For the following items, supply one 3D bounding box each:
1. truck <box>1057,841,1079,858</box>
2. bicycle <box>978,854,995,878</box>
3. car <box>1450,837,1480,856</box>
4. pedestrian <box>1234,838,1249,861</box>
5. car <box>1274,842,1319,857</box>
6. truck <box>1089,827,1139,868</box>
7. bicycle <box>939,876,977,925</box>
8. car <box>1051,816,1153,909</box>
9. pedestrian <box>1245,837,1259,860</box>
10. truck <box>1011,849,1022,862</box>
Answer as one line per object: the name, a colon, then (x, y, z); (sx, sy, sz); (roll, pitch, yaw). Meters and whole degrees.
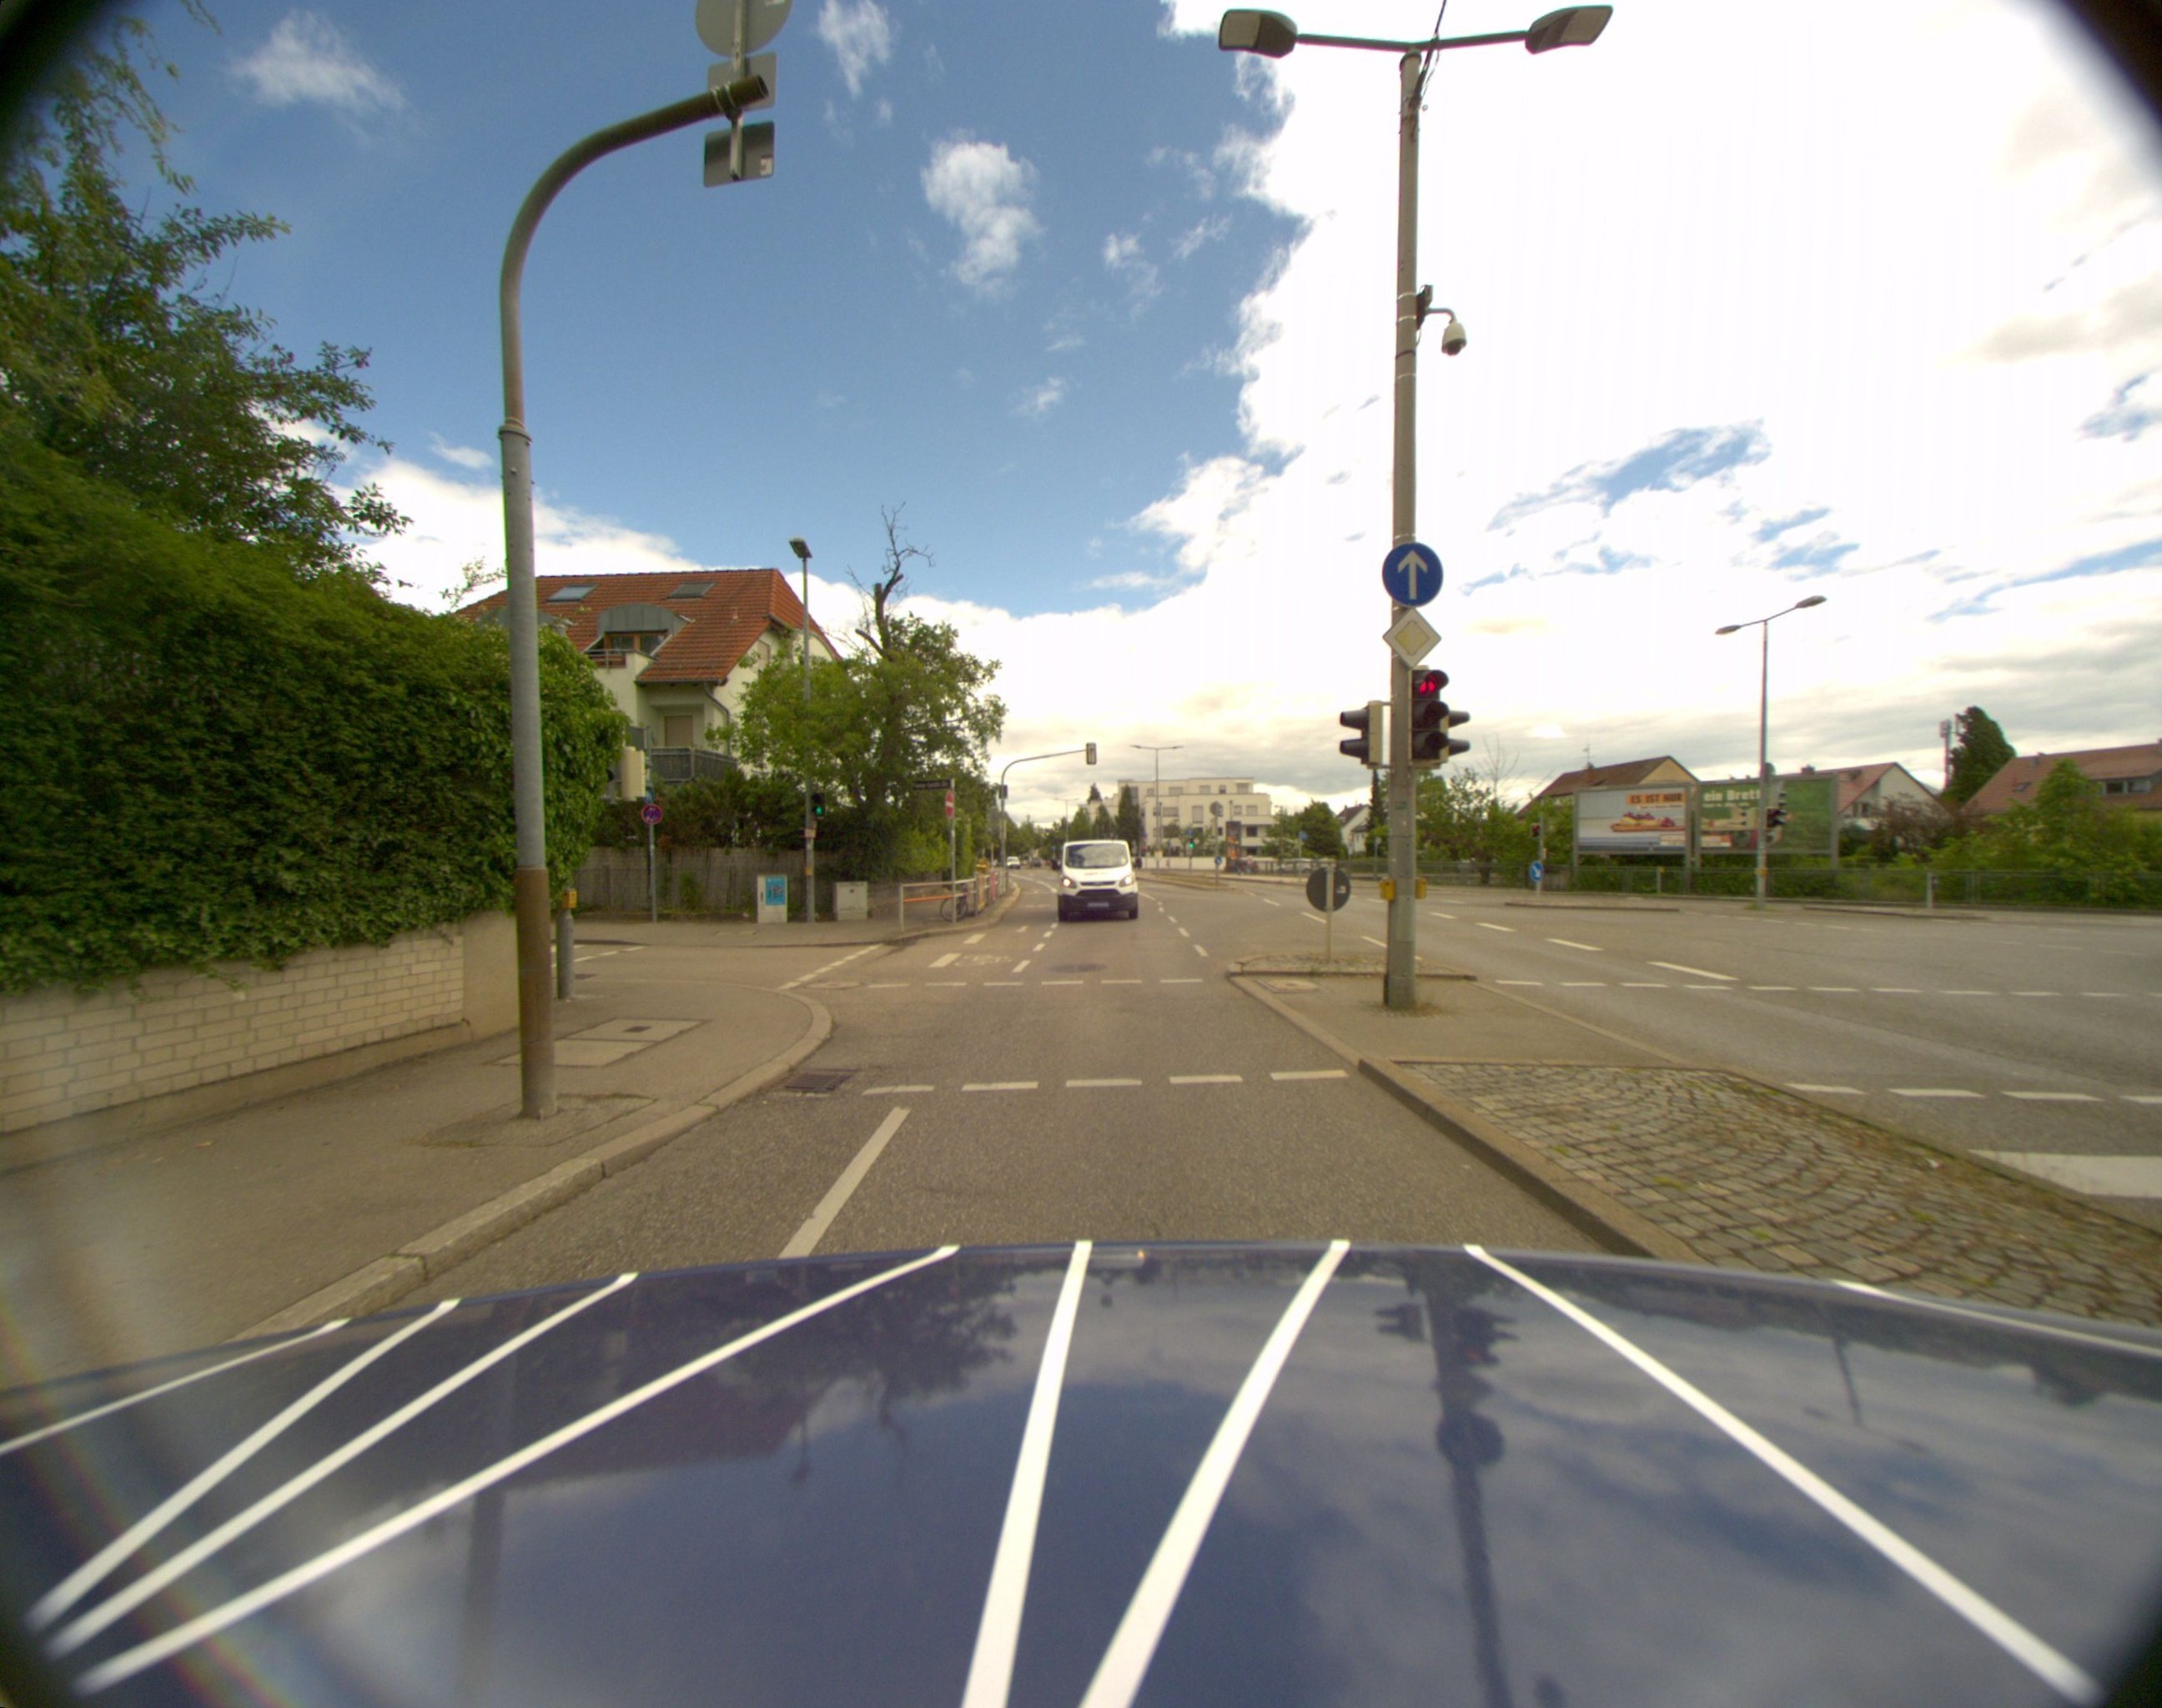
truck: (-1.866, -0.606, 104.689); (2.132, 2.252, 6.799); (-1, 1, -8)
bicycle: (-6.269, 0.748, 50.339); (0.894, 1.502, 2.782); (2, 0, -3)
car: (39.408, -0.788, 77.934); (1.782, 1.572, 4.006); (-4, 2, 40)
pedestrian: (11.764, -0.355, 55.722); (0.658, 1.624, 1.069); (-4, 2, -15)
car: (22.197, -0.434, 78.360); (4.117, 1.526, 1.651); (1, 1, 36)
truck: (2.141, -0.425, 51.359); (2.038, 2.556, 6.051); (-1, 1, -11)
bicycle: (-2.913, 1.080, 18.064); (0.629, 1.022, 1.503); (-2, 1, -1)
car: (0.366, 0.163, 19.539); (2.076, 1.956, 5.555); (-3, 1, -3)
pedestrian: (12.563, -0.383, 55.876); (0.658, 1.624, 0.832); (-4, 2, -15)
truck: (-9.249, 0.163, 109.360); (1.616, 1.780, 3.998); (-1, 1, -4)
